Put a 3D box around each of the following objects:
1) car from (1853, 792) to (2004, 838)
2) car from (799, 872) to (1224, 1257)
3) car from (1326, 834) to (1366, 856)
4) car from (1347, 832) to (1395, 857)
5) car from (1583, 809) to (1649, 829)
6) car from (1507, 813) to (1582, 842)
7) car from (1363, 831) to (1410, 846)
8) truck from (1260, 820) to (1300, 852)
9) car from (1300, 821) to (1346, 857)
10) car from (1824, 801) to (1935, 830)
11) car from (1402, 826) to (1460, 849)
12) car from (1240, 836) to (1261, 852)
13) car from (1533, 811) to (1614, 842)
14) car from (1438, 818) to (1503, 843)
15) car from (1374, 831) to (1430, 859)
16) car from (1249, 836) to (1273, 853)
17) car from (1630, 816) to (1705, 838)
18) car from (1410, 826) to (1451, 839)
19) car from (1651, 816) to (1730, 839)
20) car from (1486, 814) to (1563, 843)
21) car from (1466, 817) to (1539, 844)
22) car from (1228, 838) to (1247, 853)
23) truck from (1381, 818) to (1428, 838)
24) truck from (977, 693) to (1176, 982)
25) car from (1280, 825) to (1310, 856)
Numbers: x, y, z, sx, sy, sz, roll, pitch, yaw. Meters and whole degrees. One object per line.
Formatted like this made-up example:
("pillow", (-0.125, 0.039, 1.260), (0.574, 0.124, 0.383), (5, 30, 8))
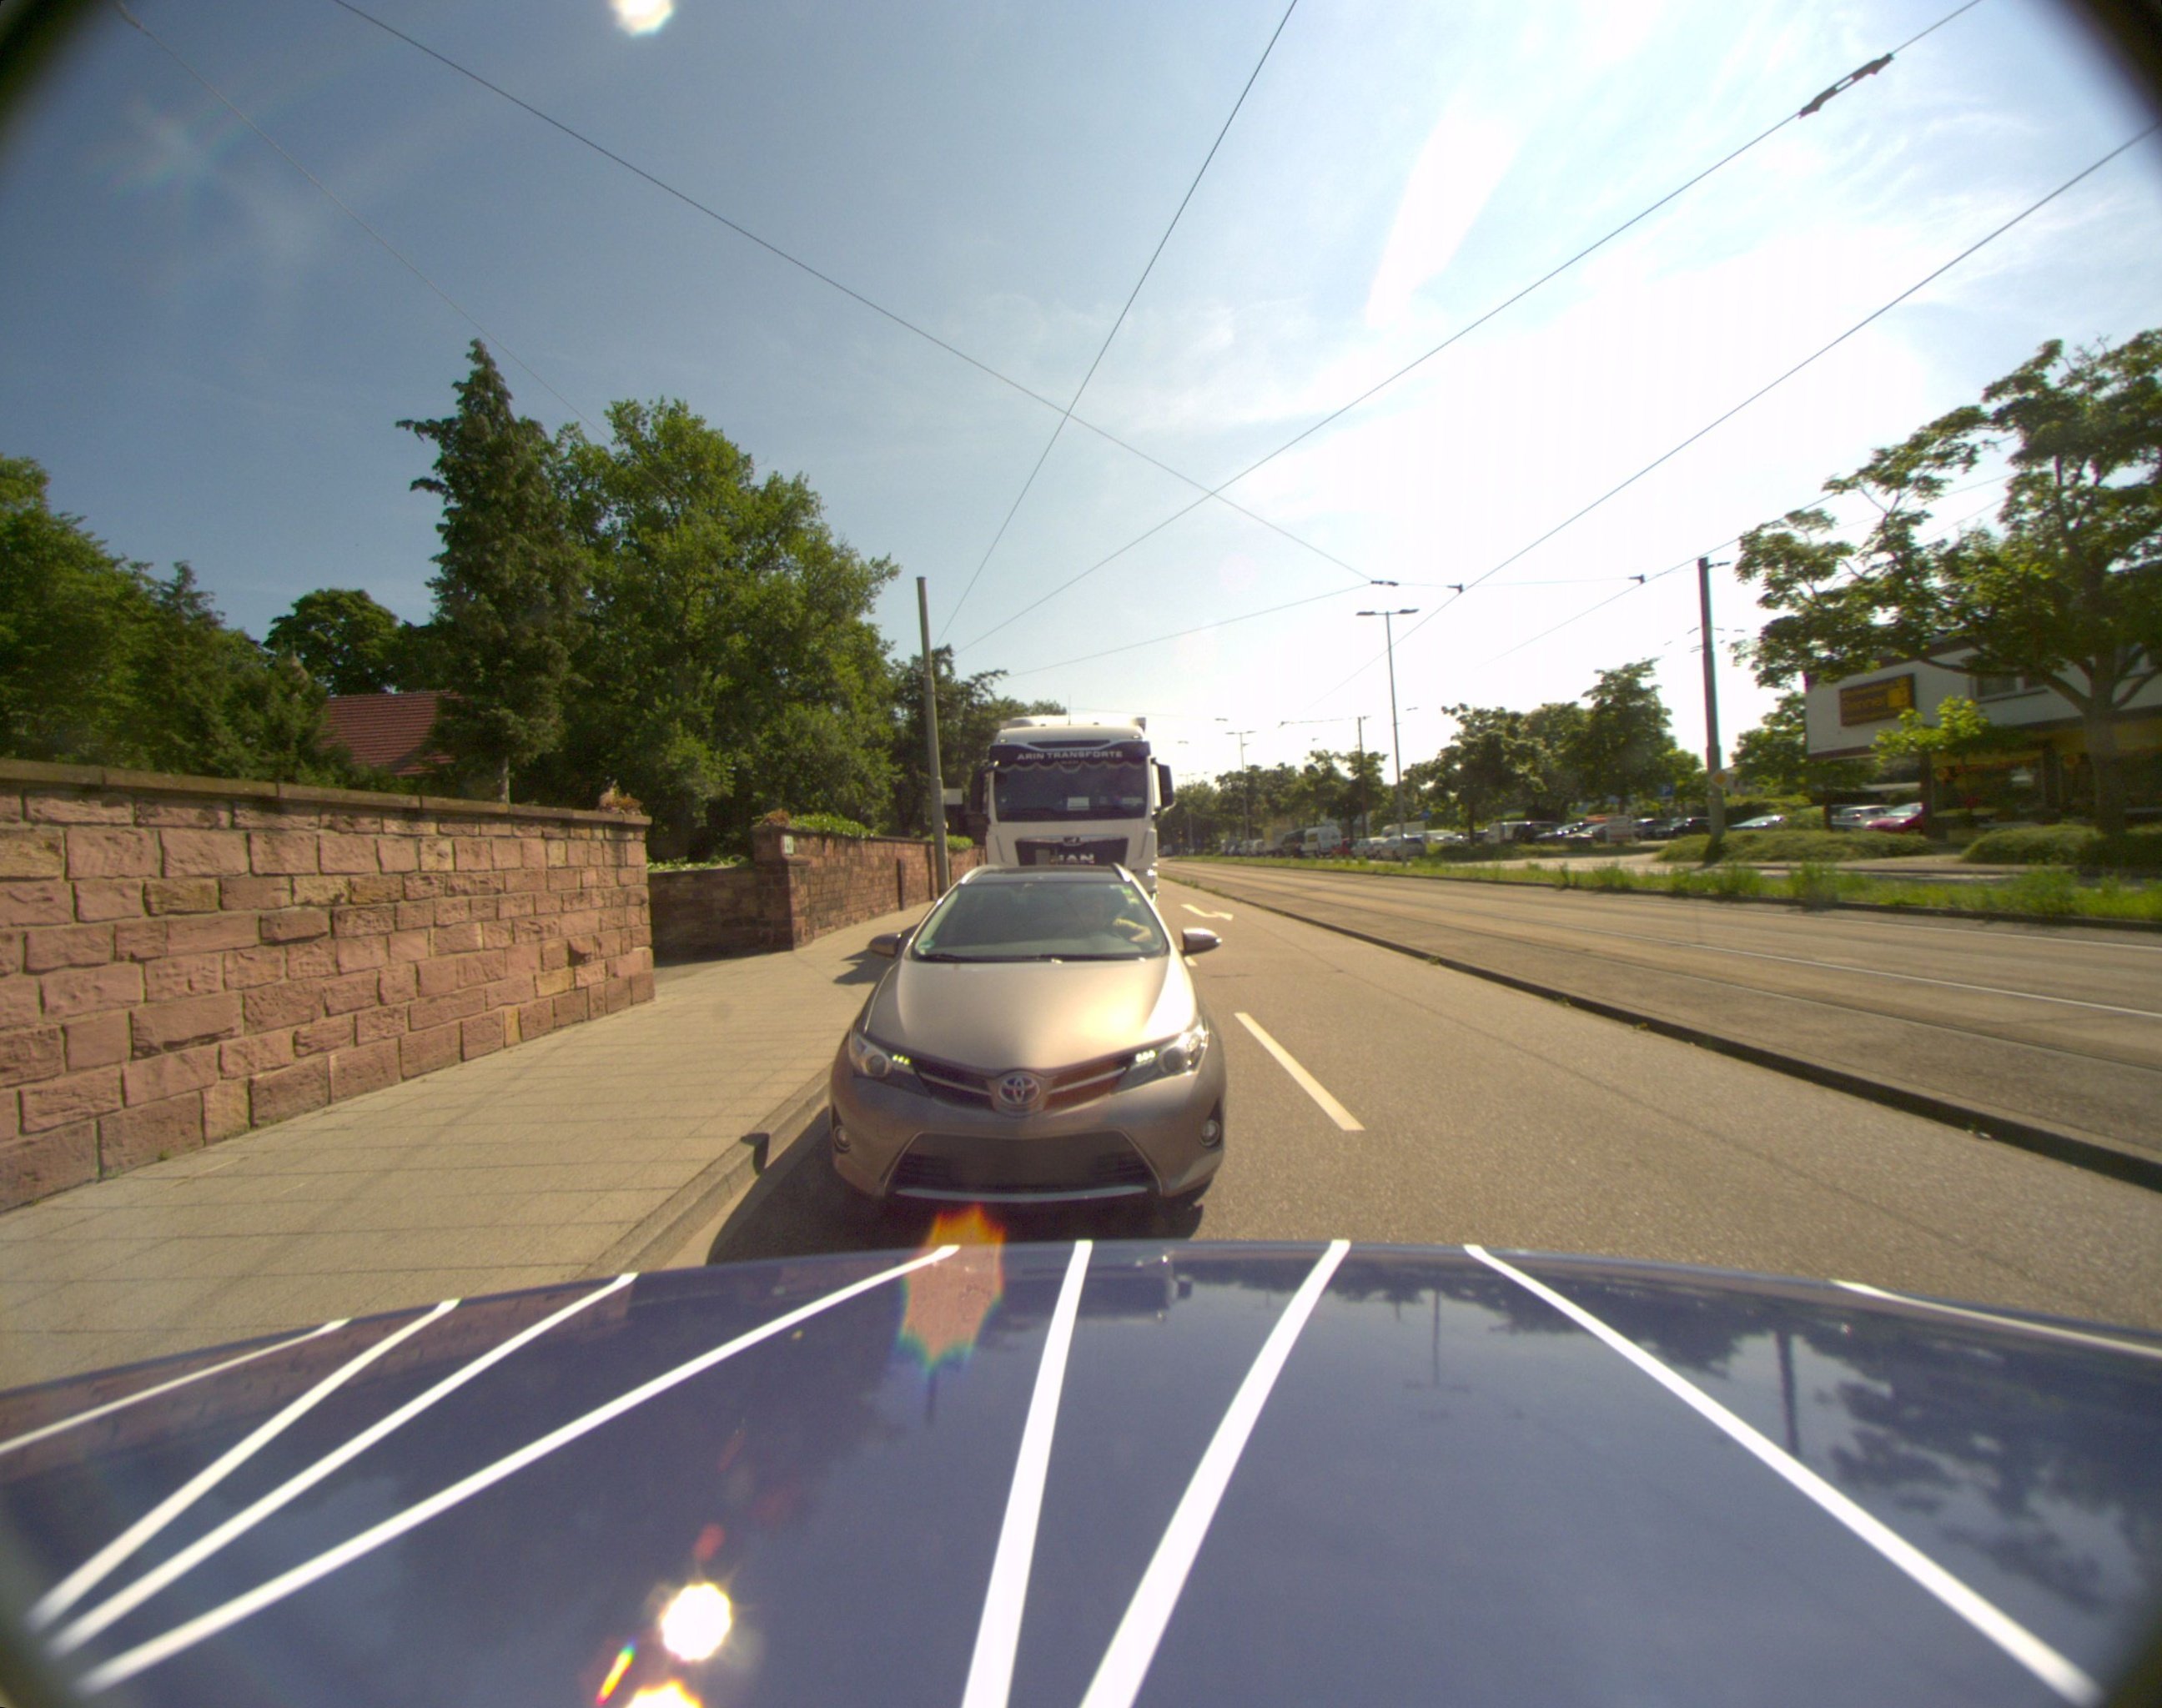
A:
("car", (35.263, -1.586, 31.685), (4.252, 1.595, 1.676), (-3, 1, 2))
("car", (-0.257, 0.892, 5.034), (1.654, 1.374, 4.000), (-2, 0, 0))
("car", (20.475, -0.672, 58.757), (1.675, 1.524, 3.793), (-6, 0, 1))
("car", (20.446, -0.630, 53.660), (1.675, 1.524, 4.256), (-6, 0, 1))
("car", (43.967, -2.884, 62.517), (4.254, 1.327, 1.676), (-3, 0, -1))
("car", (30.580, -1.720, 50.185), (3.810, 1.625, 1.676), (-3, 1, 2))
("car", (32.315, -1.598, 80.400), (4.253, 1.327, 1.676), (-3, 0, 1))
("truck", (20.550, -1.850, 78.848), (2.508, 2.917, 5.903), (-6, 0, 2))
("car", (20.282, -1.229, 63.992), (2.062, 2.638, 5.203), (-6, 0, 1))
("car", (44.328, -2.119, 42.242), (4.252, 1.327, 1.676), (-3, 0, 2))
("car", (31.168, -1.405, 67.883), (2.594, 1.800, 5.741), (-3, 0, 2))
("car", (20.956, -1.232, 94.221), (1.502, 1.835, 4.059), (-6, 0, 0))
("car", (30.509, -1.683, 47.117), (3.810, 1.625, 1.676), (-3, 1, 2))
("car", (31.230, -1.878, 60.980), (4.117, 1.728, 1.990), (-3, 1, -2))
("car", (20.289, -0.538, 48.173), (1.675, 1.524, 4.256), (-6, 0, 1))
("car", (20.652, -1.054, 87.354), (1.502, 1.793, 4.633), (-6, 0, 1))
("car", (44.227, -2.035, 57.381), (4.252, 1.327, 1.676), (-3, 0, 2))
("car", (43.734, -2.629, 95.113), (4.253, 1.327, 1.676), (-3, 0, 1))
("car", (44.006, -1.919, 54.928), (4.252, 1.327, 1.676), (-3, 0, 2))
("car", (30.694, -1.775, 52.671), (4.117, 1.728, 1.990), (-3, 1, -2))
("car", (30.534, -1.688, 55.142), (4.117, 1.728, 1.990), (-3, 1, -2))
("car", (20.620, -1.093, 100.075), (1.502, 1.775, 3.687), (-6, 0, 0))
("truck", (44.774, -3.547, 105.232), (5.652, 2.367, 1.990), (-3, 1, -2))
("truck", (0.037, -0.279, 15.106), (2.628, 3.906, 9.285), (-2, 1, 1))
("car", (19.797, -1.208, 70.412), (1.502, 2.609, 4.007), (-6, 0, 1))
